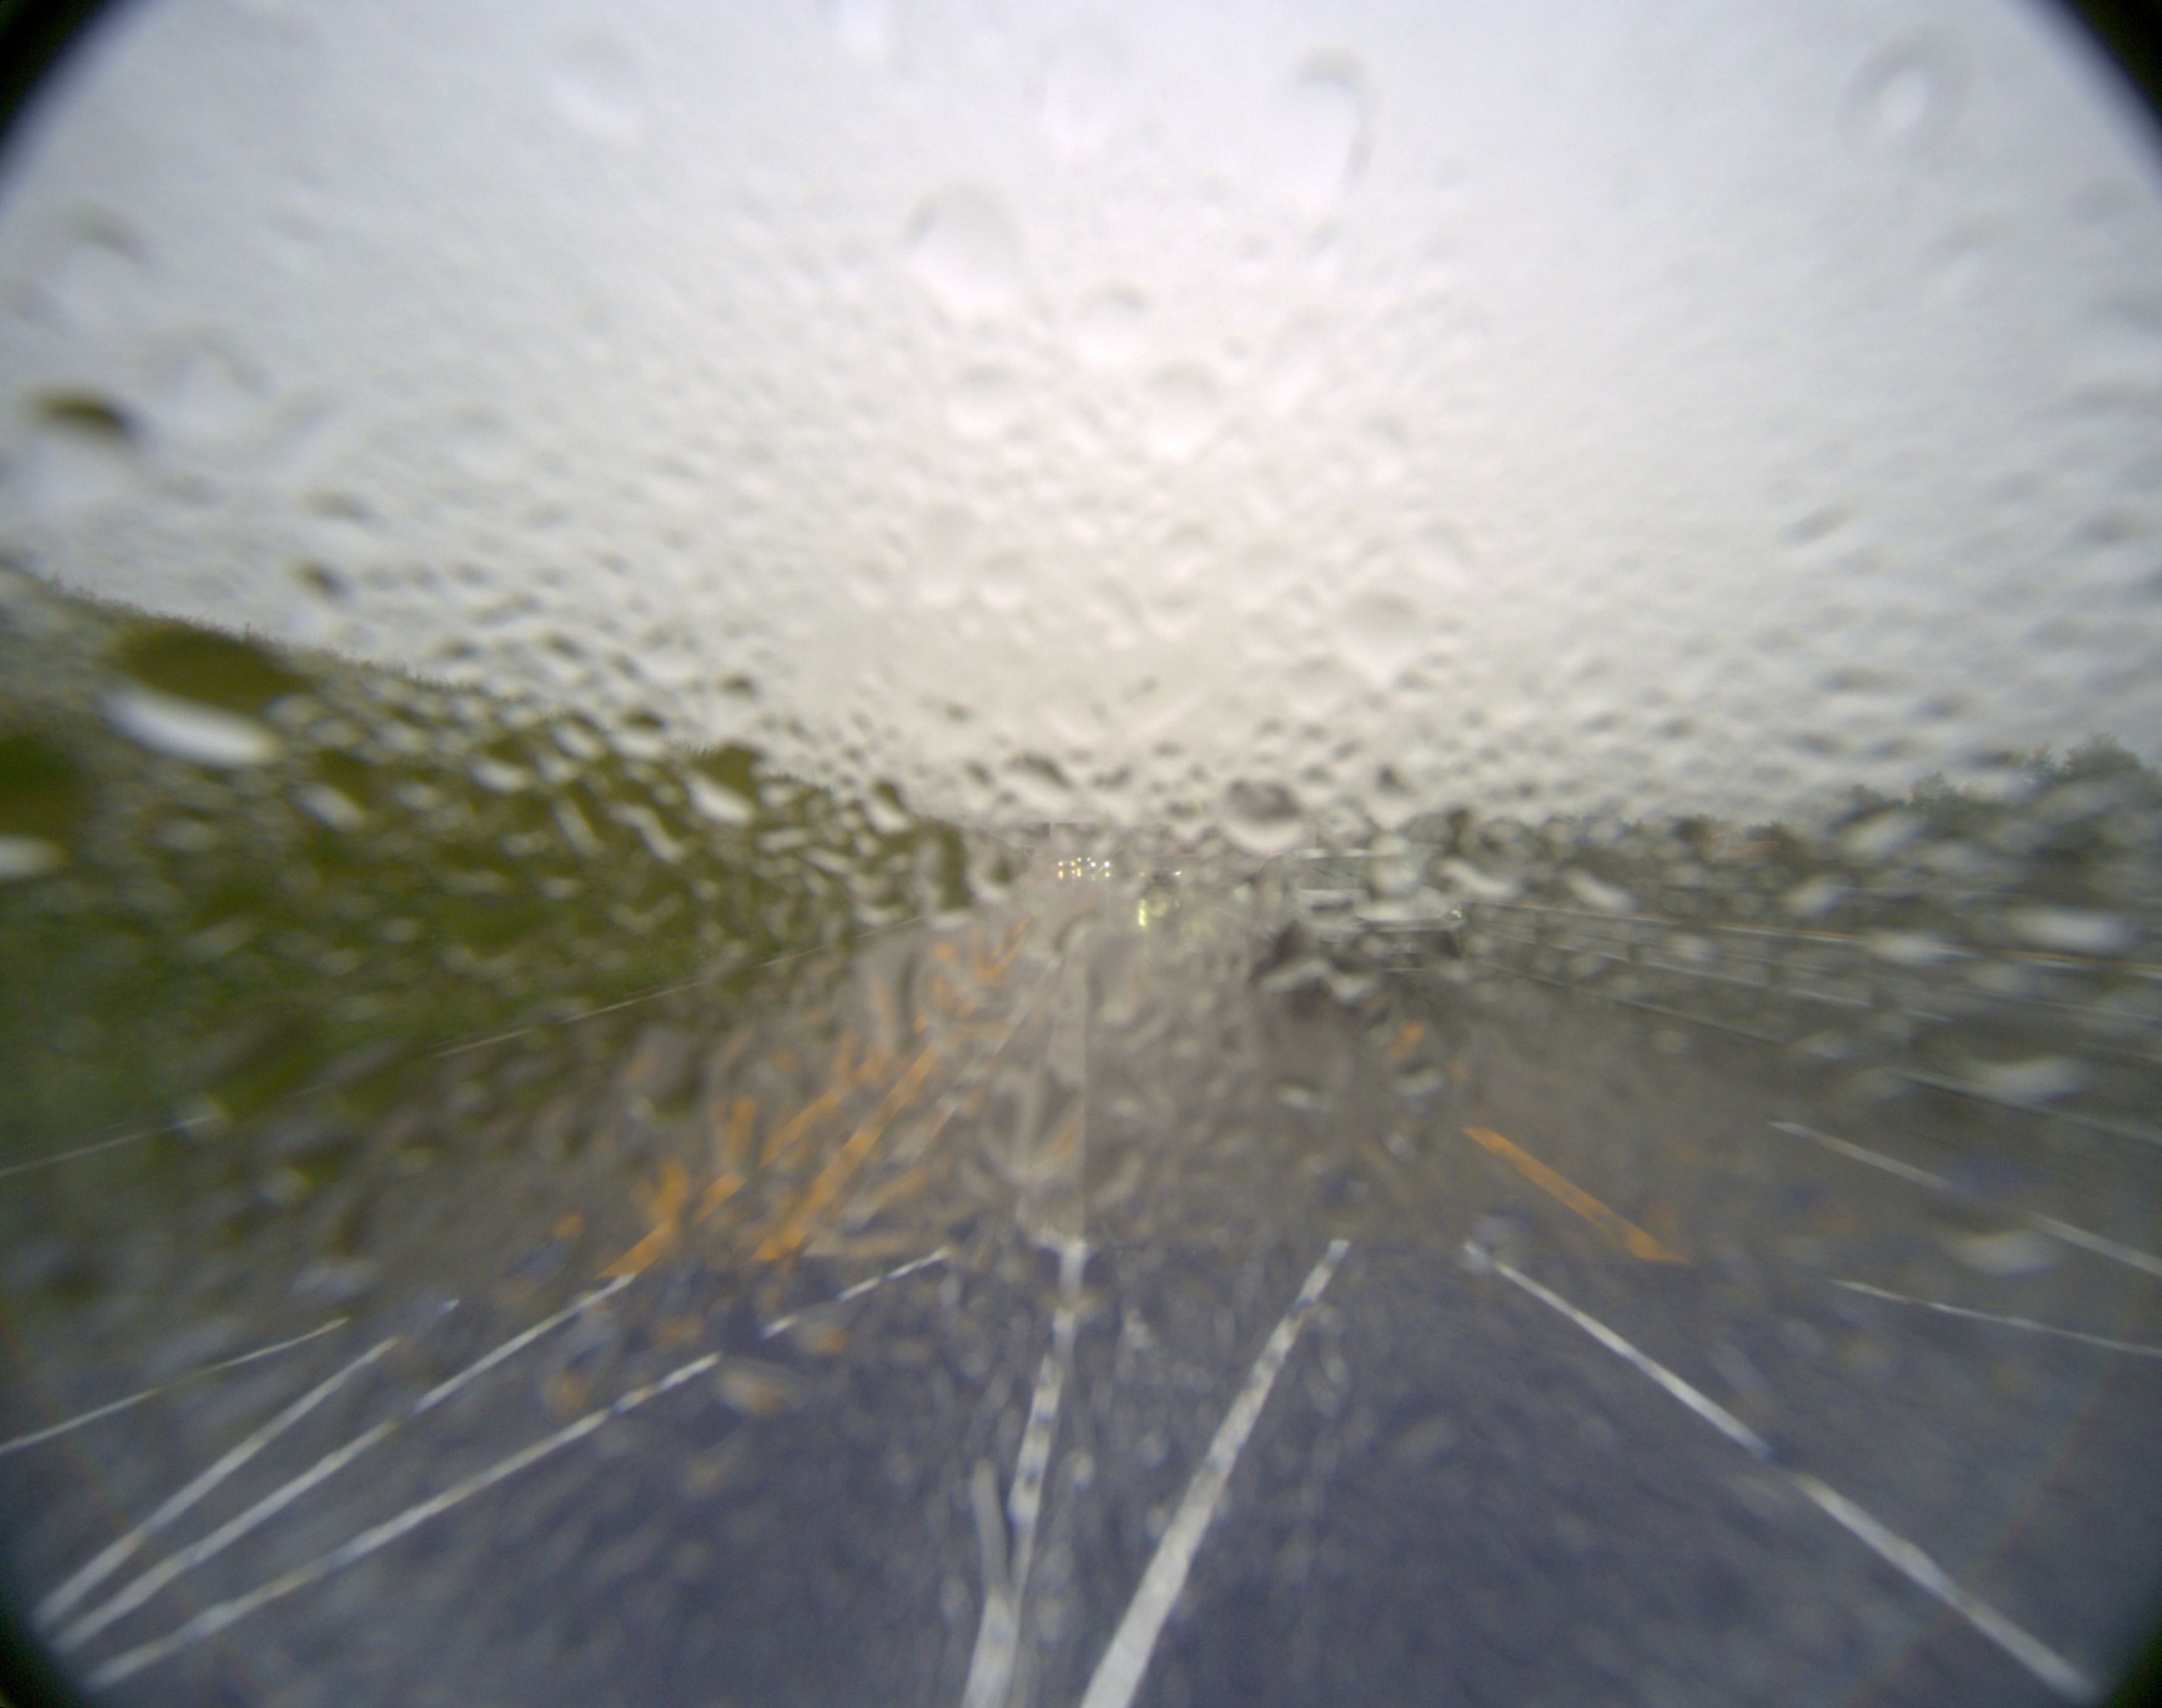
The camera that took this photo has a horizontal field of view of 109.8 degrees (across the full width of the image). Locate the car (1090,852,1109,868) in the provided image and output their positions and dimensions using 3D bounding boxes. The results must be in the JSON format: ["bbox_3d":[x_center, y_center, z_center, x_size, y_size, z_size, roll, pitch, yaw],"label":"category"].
[{"bbox_3d":[1.835,0.585,75.870,1.792,1.480,4.000,-2,0,0],"label":"car"}]

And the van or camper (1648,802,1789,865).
[{"bbox_3d":[47.501,-1.450,57.080,3.375,4.299,8.506,-2,0,0],"label":"van or camper"}]

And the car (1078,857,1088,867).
[{"bbox_3d":[0.312,1.184,119.174,1.589,1.528,3.831,0,0,0],"label":"car"}]

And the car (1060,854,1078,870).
[{"bbox_3d":[-1.344,0.937,88.097,1.881,1.772,4.000,0,0,2],"label":"car"}]

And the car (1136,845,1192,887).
[{"bbox_3d":[3.518,0.479,33.140,2.069,1.618,5.196,-1,0,2],"label":"car"}]

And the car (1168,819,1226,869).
[{"bbox_3d":[9.612,-0.804,64.079,3.305,3.718,9.400,-2,0,0],"label":"car"}]

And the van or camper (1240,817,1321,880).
[{"bbox_3d":[10.225,-0.291,39.540,2.491,2.901,6.222,-2,0,0],"label":"van or camper"}]

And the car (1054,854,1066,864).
[{"bbox_3d":[-3.939,0.983,141.662,1.672,1.804,4.001,0,0,5],"label":"car"}]

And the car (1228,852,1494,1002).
[{"bbox_3d":[3.413,0.763,10.457,1.932,1.542,5.007,-1,0,2],"label":"car"}]
